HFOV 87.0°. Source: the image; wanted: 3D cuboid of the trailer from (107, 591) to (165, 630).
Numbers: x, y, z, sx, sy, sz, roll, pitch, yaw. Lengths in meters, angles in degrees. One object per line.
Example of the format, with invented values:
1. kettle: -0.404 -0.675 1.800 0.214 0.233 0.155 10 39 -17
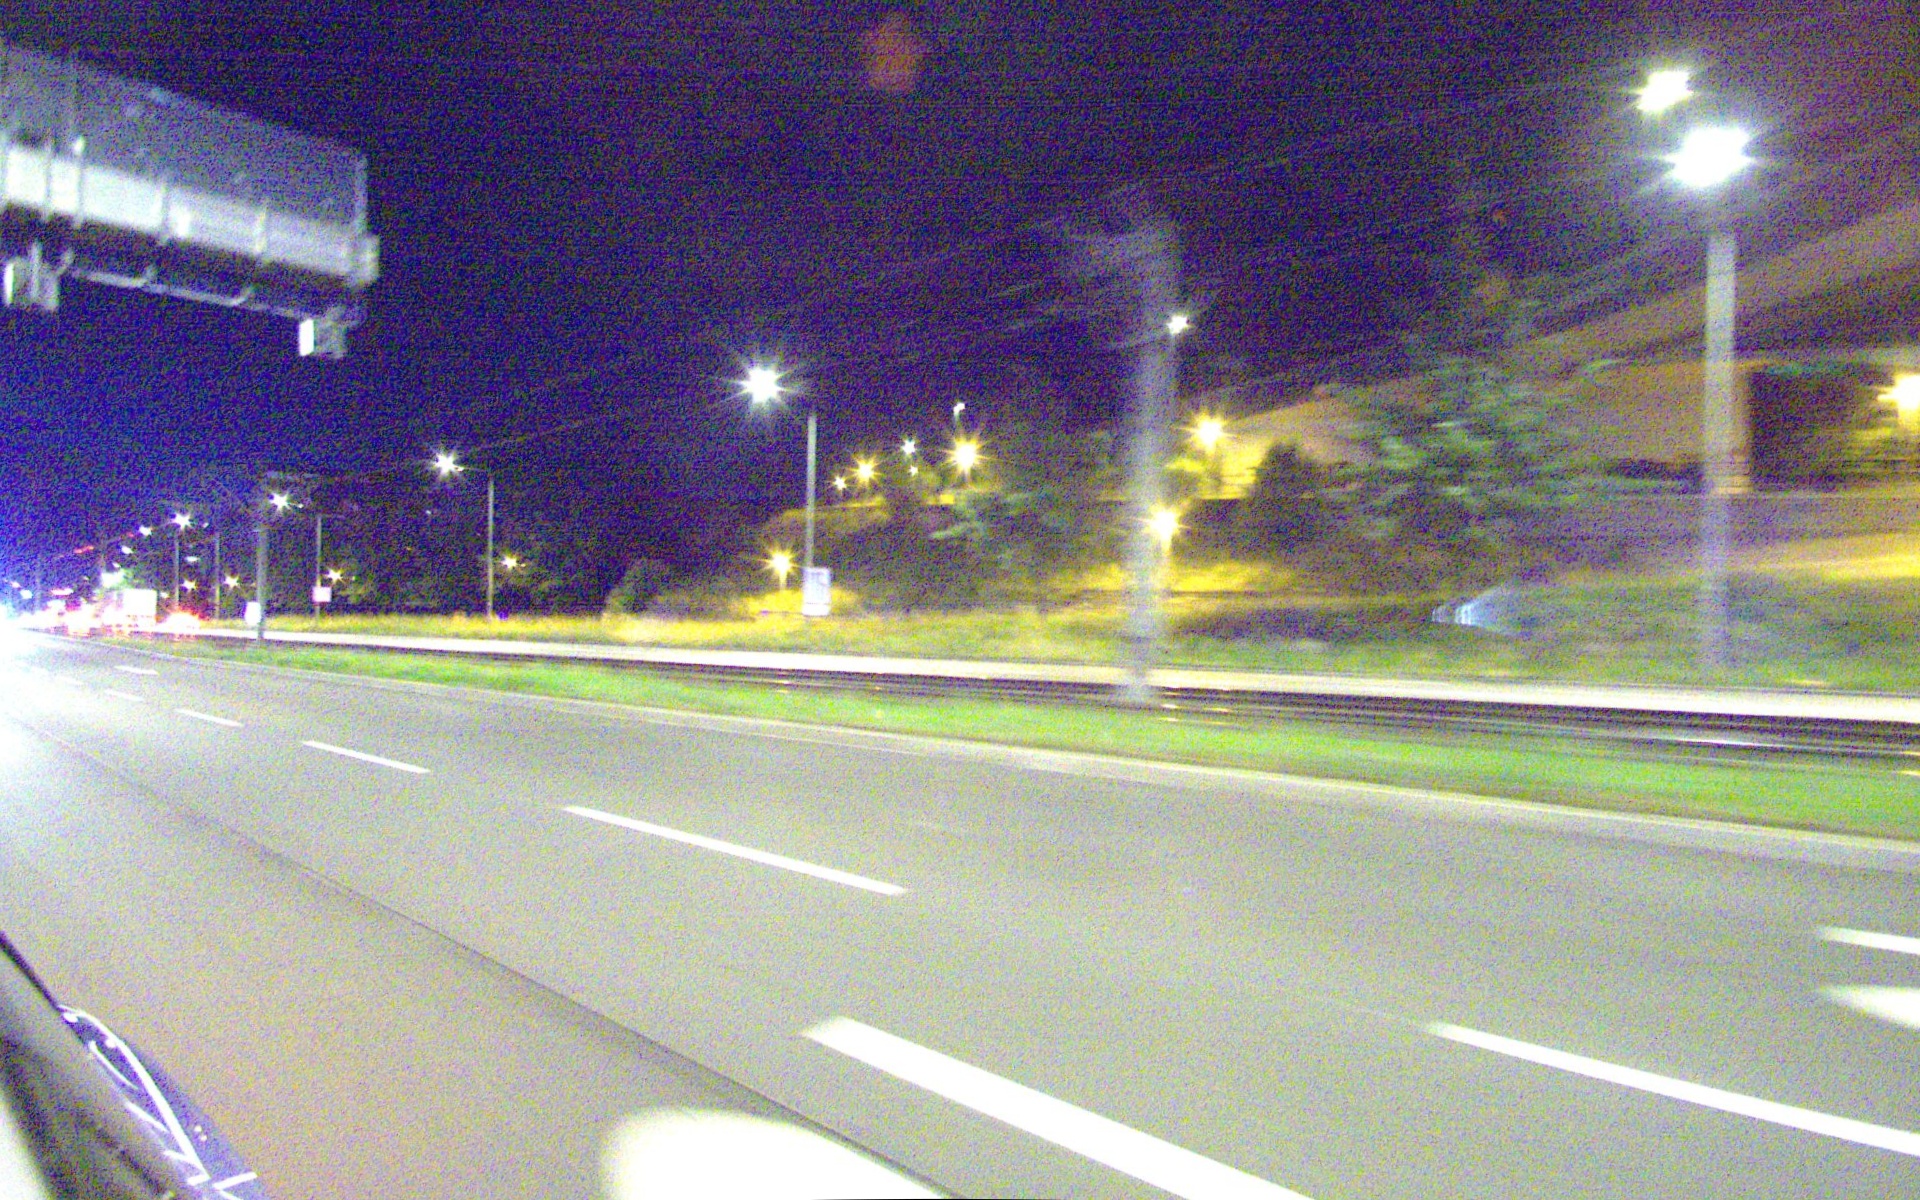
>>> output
1. trailer: -89.932 1.100 110.424 8.393 4.019 3.657 0 1 42

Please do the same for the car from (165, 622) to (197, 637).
1. car: -82.972 3.104 107.769 4.203 1.492 1.965 -1 -2 42

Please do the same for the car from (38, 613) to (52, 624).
1. car: -166.239 3.359 183.837 1.768 1.921 4.005 -1 1 -42

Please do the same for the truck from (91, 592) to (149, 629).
1. truck: -96.983 1.140 116.790 10.418 3.984 3.642 0 1 42

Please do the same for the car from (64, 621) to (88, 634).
1. car: -111.981 3.442 128.223 4.083 1.510 1.785 0 0 41
